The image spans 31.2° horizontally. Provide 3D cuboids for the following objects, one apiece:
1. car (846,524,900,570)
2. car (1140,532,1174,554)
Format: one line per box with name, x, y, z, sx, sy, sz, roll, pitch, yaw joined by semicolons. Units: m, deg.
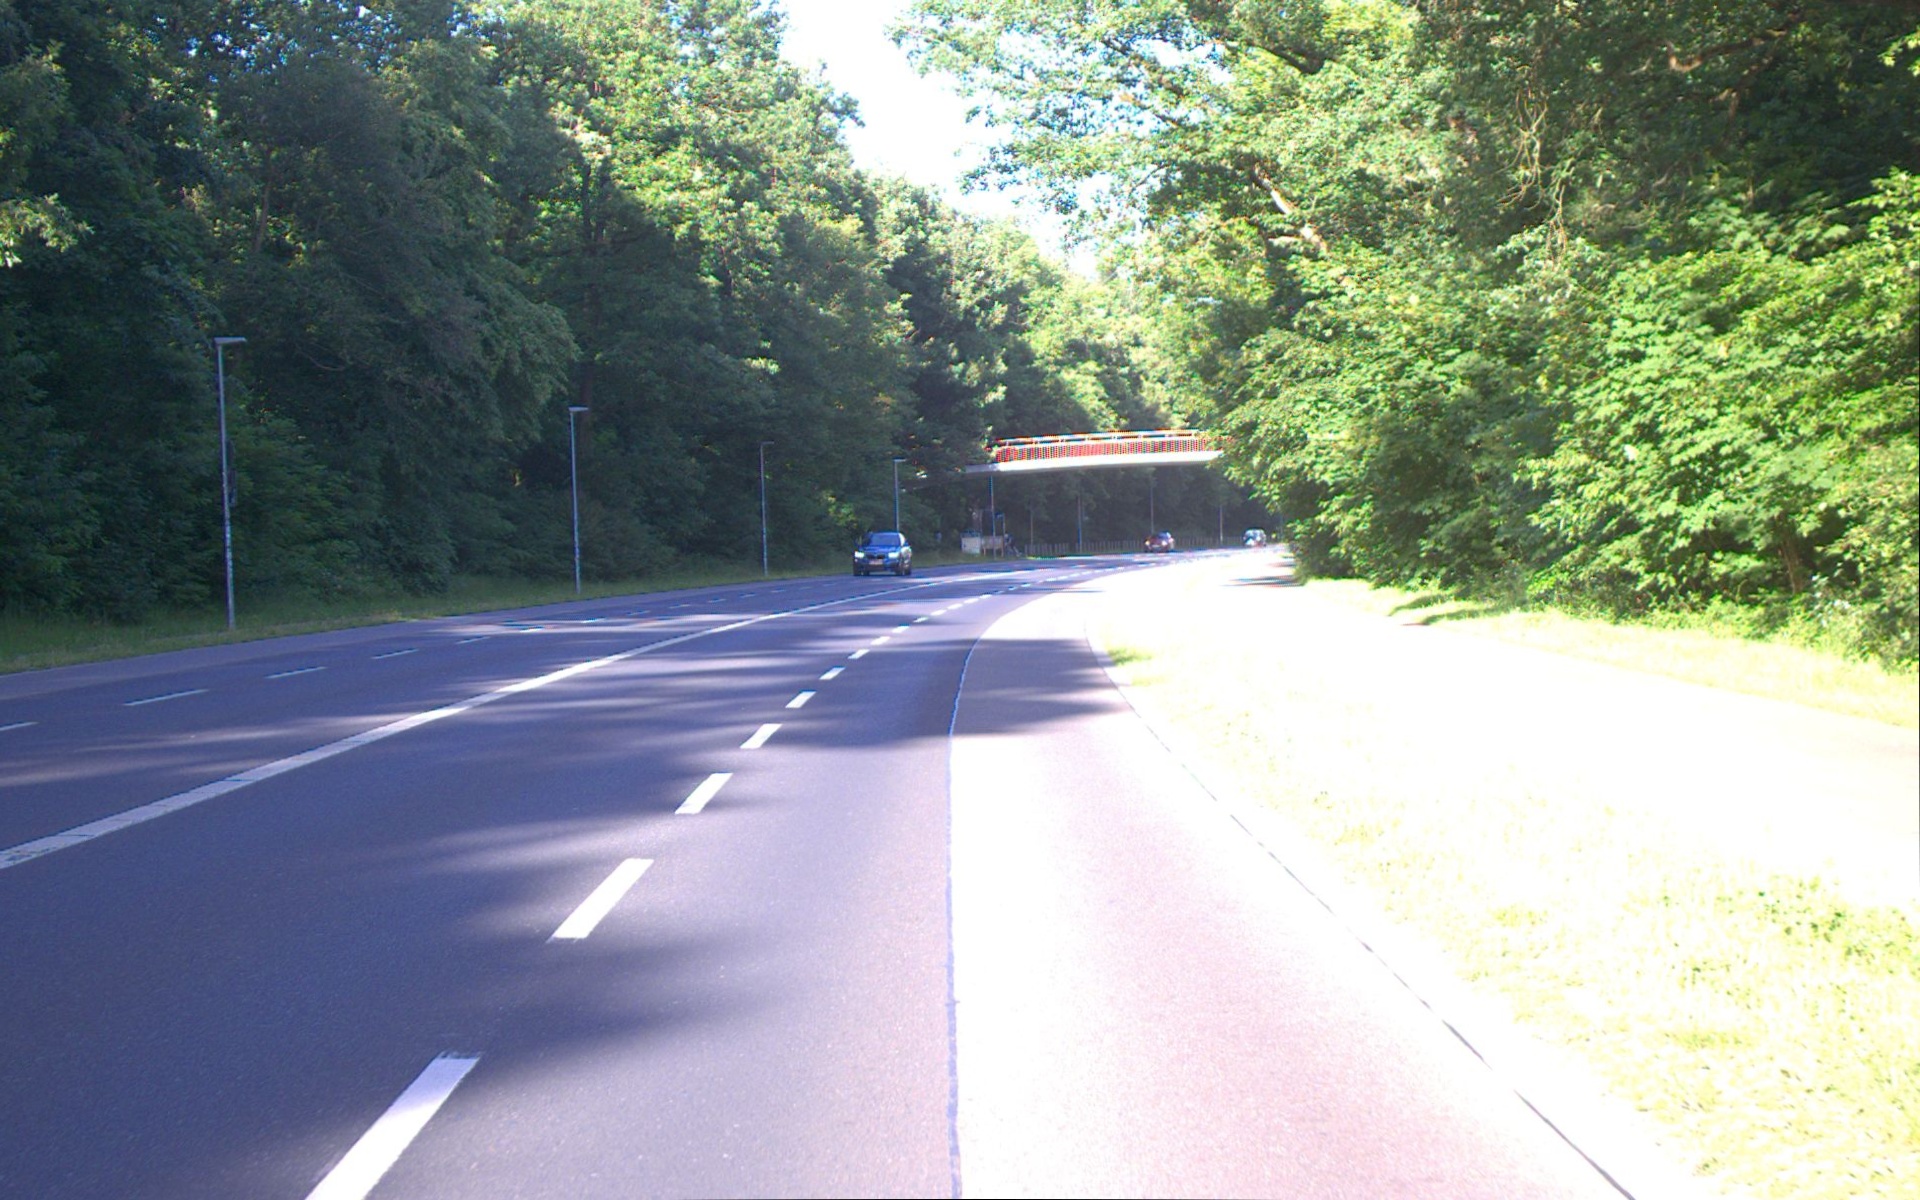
car;-3.222;-1.982;128.511;1.807;1.657;4.522;-1;1;1
car;13.688;-3.970;239.158;1.711;1.418;4.128;0;1;13
